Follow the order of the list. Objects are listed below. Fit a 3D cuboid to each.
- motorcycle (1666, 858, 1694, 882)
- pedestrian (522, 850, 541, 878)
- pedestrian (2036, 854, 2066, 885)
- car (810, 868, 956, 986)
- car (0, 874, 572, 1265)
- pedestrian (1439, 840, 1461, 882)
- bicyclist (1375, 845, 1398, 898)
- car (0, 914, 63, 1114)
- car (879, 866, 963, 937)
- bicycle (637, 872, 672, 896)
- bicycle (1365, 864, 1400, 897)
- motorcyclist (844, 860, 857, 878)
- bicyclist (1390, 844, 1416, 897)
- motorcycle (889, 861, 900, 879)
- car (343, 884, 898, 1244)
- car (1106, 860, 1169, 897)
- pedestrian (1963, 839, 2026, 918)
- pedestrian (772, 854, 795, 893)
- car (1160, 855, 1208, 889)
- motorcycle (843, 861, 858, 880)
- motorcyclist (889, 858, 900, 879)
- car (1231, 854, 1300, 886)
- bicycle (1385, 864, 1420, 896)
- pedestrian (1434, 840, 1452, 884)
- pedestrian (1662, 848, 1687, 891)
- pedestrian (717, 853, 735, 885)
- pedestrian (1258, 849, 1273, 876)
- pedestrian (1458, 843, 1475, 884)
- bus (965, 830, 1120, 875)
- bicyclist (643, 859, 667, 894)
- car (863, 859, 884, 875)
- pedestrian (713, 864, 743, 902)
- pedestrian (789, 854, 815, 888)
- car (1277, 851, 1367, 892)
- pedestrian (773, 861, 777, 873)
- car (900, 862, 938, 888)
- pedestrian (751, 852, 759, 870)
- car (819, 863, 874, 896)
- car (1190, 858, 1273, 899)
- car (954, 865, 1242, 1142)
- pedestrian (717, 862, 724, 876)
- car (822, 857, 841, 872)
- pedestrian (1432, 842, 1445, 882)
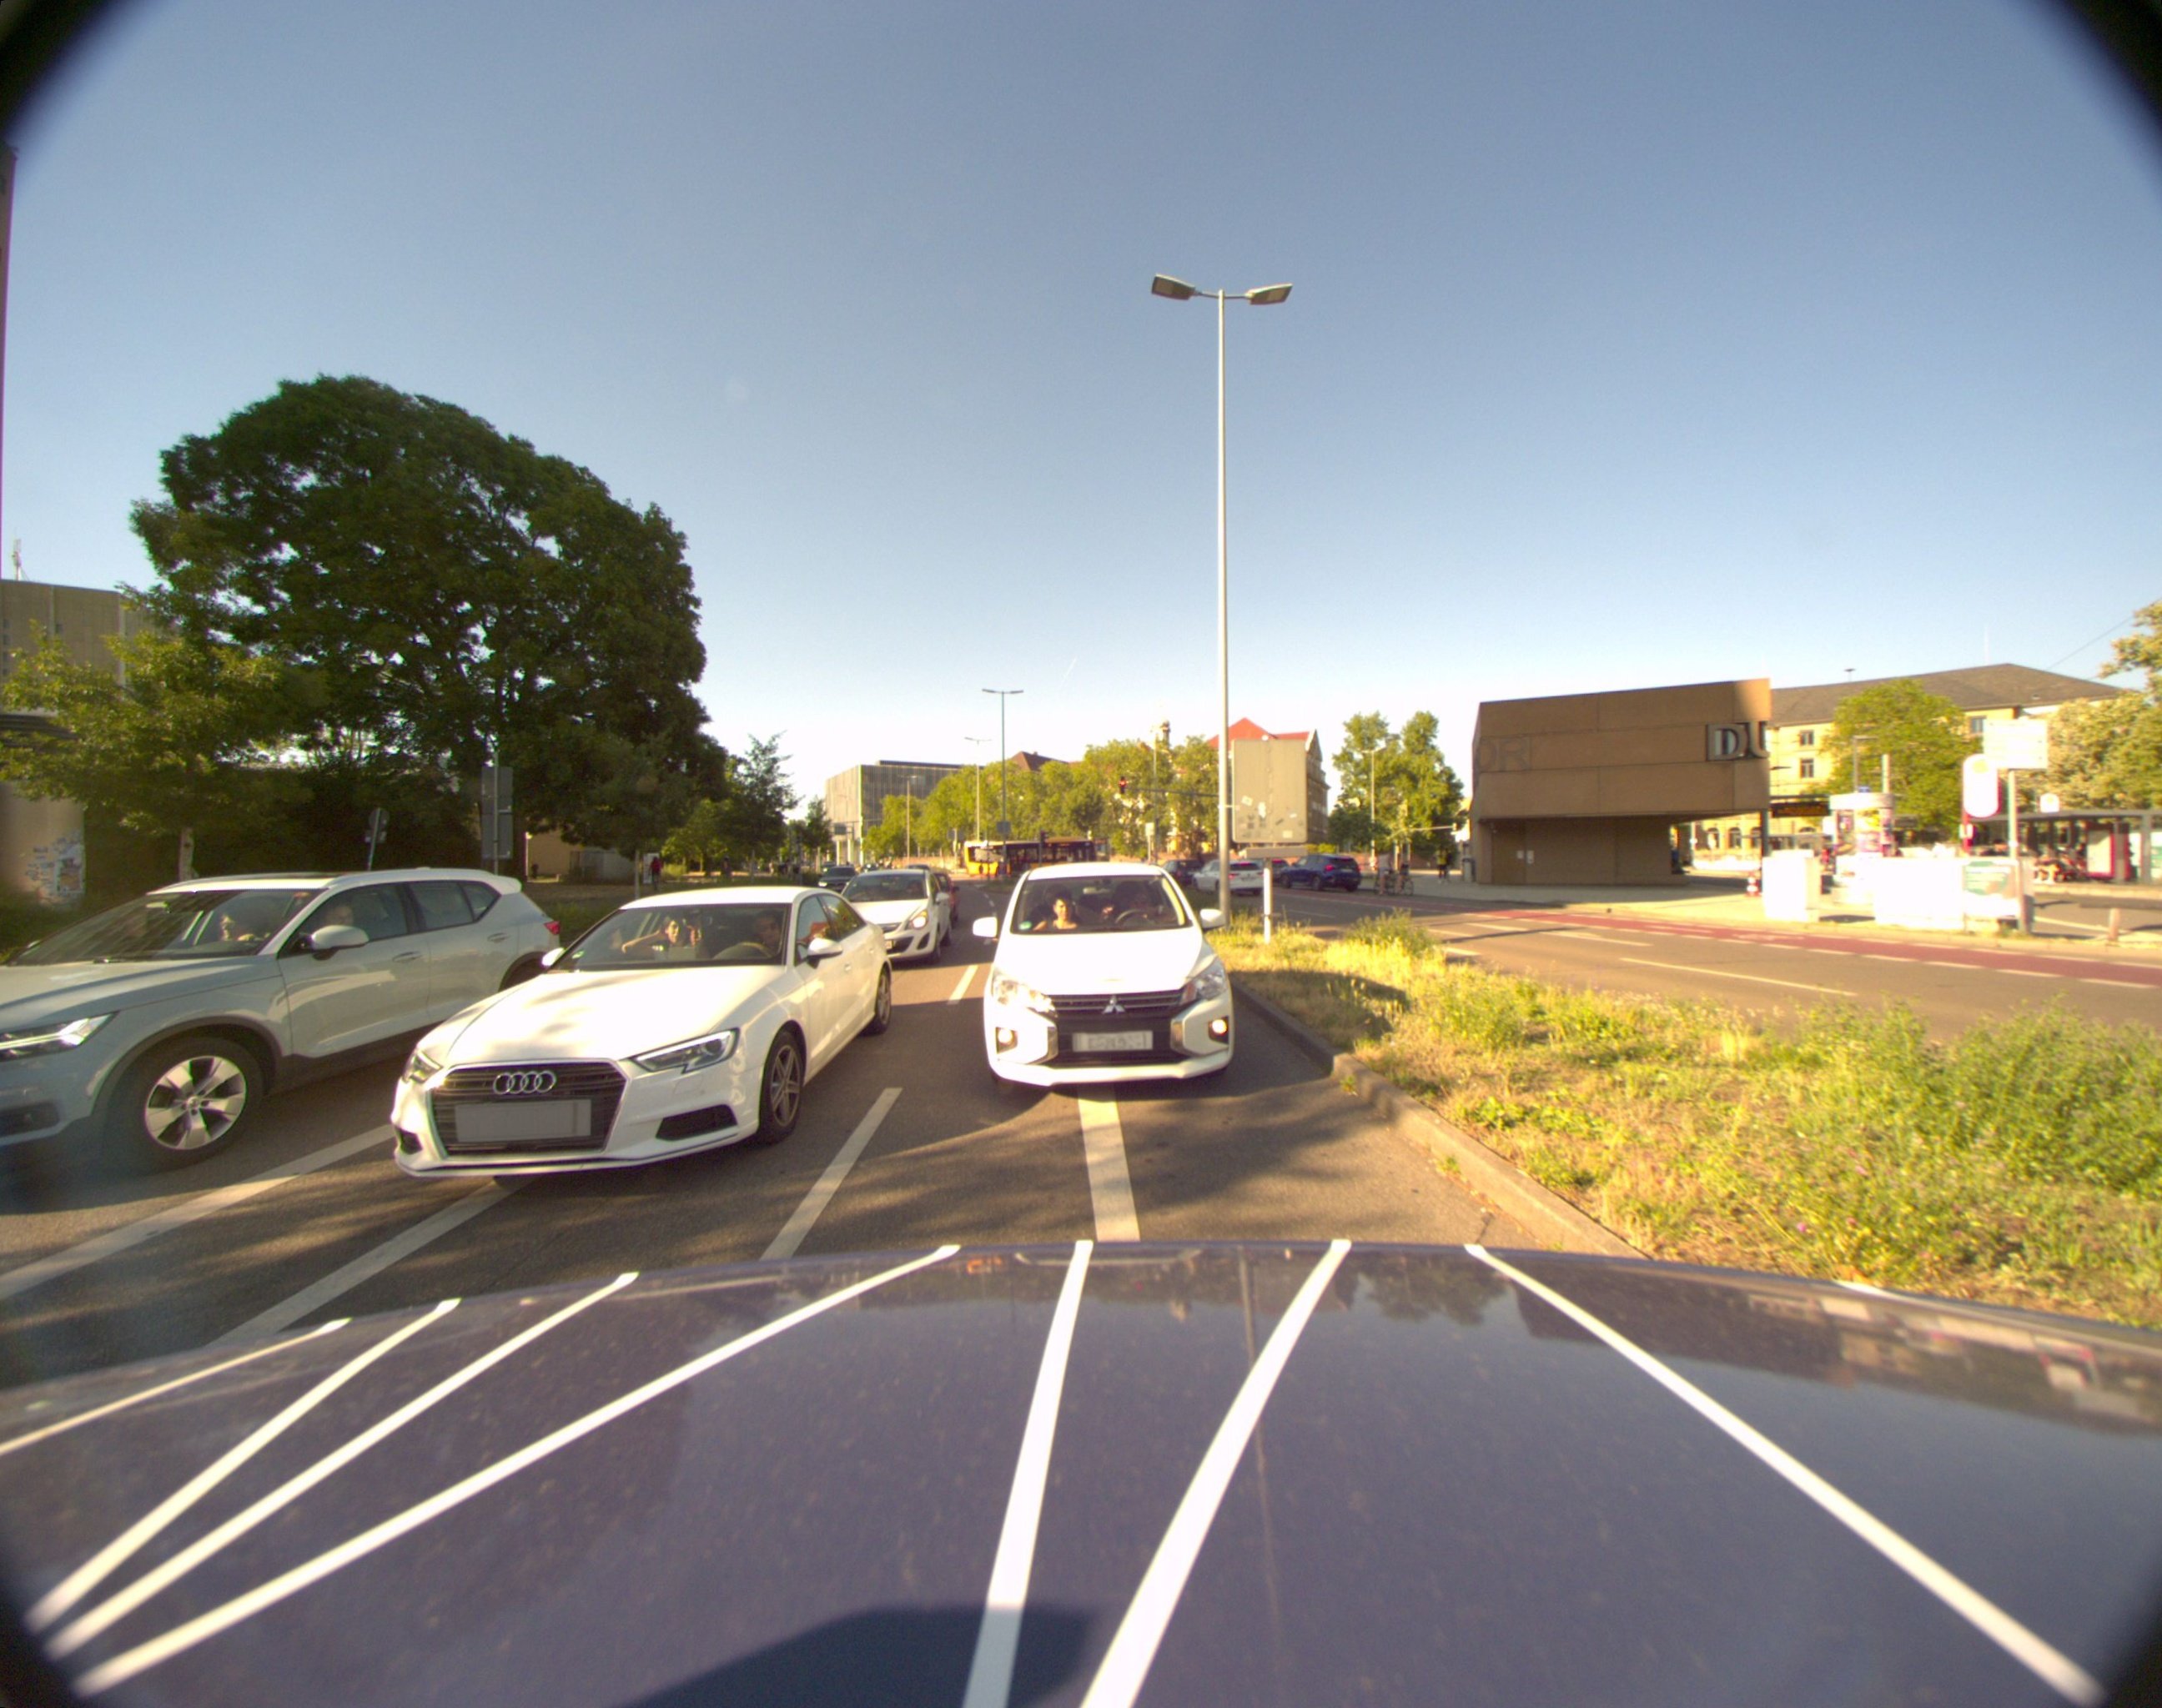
[{"bbox_3d":[26.229,0.708,33.259,0.948,1.061,0.331,-1,1,39],"label":"motorcycle"},{"bbox_3d":[-39.880,0.704,55.170,0.929,2.002,0.754,-3,1,-27],"label":"pedestrian"},{"bbox_3d":[38.973,0.617,30.532,0.539,1.180,0.659,-2,1,29],"label":"pedestrian"},{"bbox_3d":[-3.079,1.049,12.590,1.628,1.451,4.039,-2,1,-5],"label":"car"},{"bbox_3d":[-5.755,1.053,5.268,1.628,1.611,4.223,-2,1,-2],"label":"car"},{"bbox_3d":[17.992,0.341,37.088,0.777,2.002,0.773,-2,1,13],"label":"pedestrian"},{"bbox_3d":[11.763,0.659,29.241,0.611,2.002,0.565,-1,1,-15],"label":"bicyclist"},{"bbox_3d":[-8.763,1.241,3.893,1.628,1.451,4.040,-2,1,-2],"label":"car"},{"bbox_3d":[-3.903,1.097,19.107,1.628,1.451,4.039,-2,1,-7],"label":"car"},{"bbox_3d":[-19.509,1.367,34.821,0.660,0.958,2.033,0,1,-7],"label":"bicycle"},{"bbox_3d":[11.688,1.013,29.471,0.464,1.185,1.395,-3,1,-17],"label":"bicycle"},{"bbox_3d":[-16.543,1.066,54.564,0.718,1.297,0.735,-2,1,-10],"label":"motorcyclist"},{"bbox_3d":[12.472,0.619,29.401,0.611,2.002,0.708,-1,1,-15],"label":"bicyclist"},{"bbox_3d":[-14.347,1.202,58.275,0.718,1.297,2.232,-2,1,-15],"label":"motorcycle"},{"bbox_3d":[-2.558,1.037,5.401,1.628,1.396,3.832,-2,1,-2],"label":"car"},{"bbox_3d":[2.460,1.055,34.050,1.757,1.451,4.184,-2,1,-11],"label":"car"},{"bbox_3d":[20.757,0.556,17.275,0.713,1.748,0.583,-2,1,20],"label":"pedestrian"},{"bbox_3d":[-15.807,1.024,40.439,0.895,2.002,0.881,-2,1,-10],"label":"pedestrian"},{"bbox_3d":[4.985,0.850,37.382,1.755,1.451,4.188,-2,1,0],"label":"car"},{"bbox_3d":[-16.539,1.195,54.551,0.718,1.297,2.232,-2,1,-11],"label":"motorcycle"},{"bbox_3d":[-14.249,1.110,58.087,0.712,1.581,0.689,-3,1,-16],"label":"motorcyclist"},{"bbox_3d":[9.391,0.789,39.049,1.850,1.483,4.388,1,0,-10],"label":"car"},{"bbox_3d":[12.467,0.983,29.495,0.464,1.185,1.395,-3,1,-17],"label":"bicycle"},{"bbox_3d":[16.782,0.370,35.236,0.655,2.002,0.469,-2,1,20],"label":"pedestrian"},{"bbox_3d":[28.464,0.736,36.421,0.780,2.002,0.771,-3,2,-42],"label":"pedestrian"},{"bbox_3d":[-17.717,0.733,37.888,0.596,1.585,0.594,-2,1,-8],"label":"pedestrian"},{"bbox_3d":[13.084,0.606,53.805,0.797,1.886,0.612,0,1,40],"label":"pedestrian"},{"bbox_3d":[19.165,0.451,37.810,0.655,2.002,0.469,-2,1,20],"label":"pedestrian"},{"bbox_3d":[-3.253,-0.065,61.136,12.513,3.193,3.092,-2,1,28],"label":"bus"},{"bbox_3d":[-19.497,1.005,34.823,0.617,1.551,0.870,-2,1,-8],"label":"bicyclist"},{"bbox_3d":[-21.444,1.319,78.537,1.748,1.536,3.993,-1,0,-20],"label":"car"},{"bbox_3d":[-16.823,1.371,36.242,1.010,1.711,0.884,-2,1,-10],"label":"pedestrian"},{"bbox_3d":[-16.795,1.002,45.797,1.143,2.002,1.285,-2,1,-10],"label":"pedestrian"},{"bbox_3d":[10.424,0.708,33.206,1.757,1.680,4.183,-1,0,-14],"label":"car"},{"bbox_3d":[-42.631,1.813,105.834,0.399,1.676,0.483,-1,1,1],"label":"pedestrian"},{"bbox_3d":[-10.137,1.272,47.467,1.758,1.451,4.182,-2,1,-19],"label":"car"},{"bbox_3d":[-28.921,0.607,67.358,0.548,1.597,0.603,-3,1,-19],"label":"pedestrian"},{"bbox_3d":[-11.883,1.252,38.752,1.756,1.451,4.186,-2,1,-5],"label":"car"},{"bbox_3d":[6.089,0.947,31.323,1.850,1.483,4.388,-2,1,-10],"label":"car"},{"bbox_3d":[0.051,0.894,6.444,1.628,1.451,4.040,-2,1,-2],"label":"car"},{"bbox_3d":[-51.984,2.164,109.543,0.840,2.002,1.065,-3,1,-30],"label":"pedestrian"},{"bbox_3d":[-27.876,1.152,84.811,1.748,1.696,3.993,-1,0,-21],"label":"car"},{"bbox_3d":[18.199,0.402,38.643,0.467,2.002,0.657,-2,1,17],"label":"pedestrian"}]
